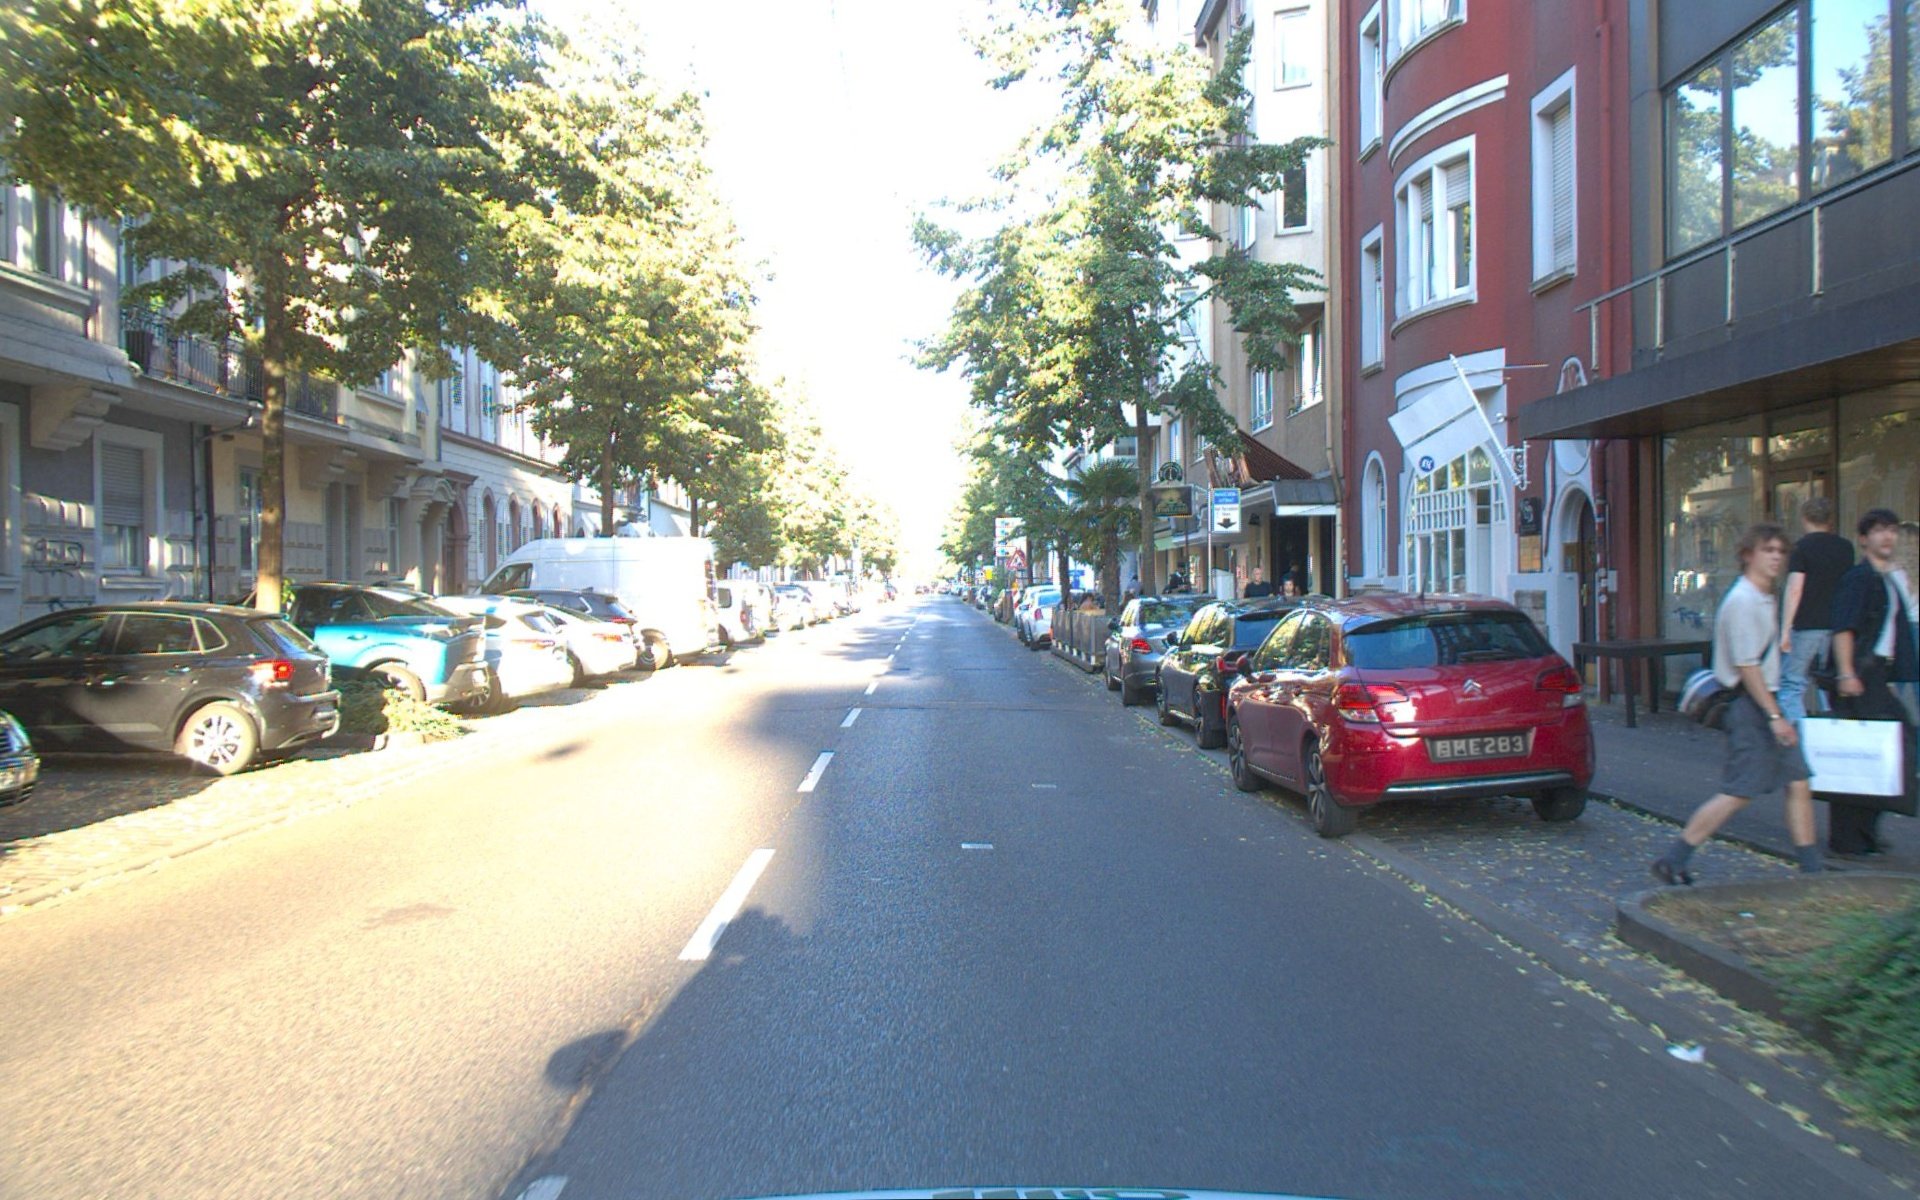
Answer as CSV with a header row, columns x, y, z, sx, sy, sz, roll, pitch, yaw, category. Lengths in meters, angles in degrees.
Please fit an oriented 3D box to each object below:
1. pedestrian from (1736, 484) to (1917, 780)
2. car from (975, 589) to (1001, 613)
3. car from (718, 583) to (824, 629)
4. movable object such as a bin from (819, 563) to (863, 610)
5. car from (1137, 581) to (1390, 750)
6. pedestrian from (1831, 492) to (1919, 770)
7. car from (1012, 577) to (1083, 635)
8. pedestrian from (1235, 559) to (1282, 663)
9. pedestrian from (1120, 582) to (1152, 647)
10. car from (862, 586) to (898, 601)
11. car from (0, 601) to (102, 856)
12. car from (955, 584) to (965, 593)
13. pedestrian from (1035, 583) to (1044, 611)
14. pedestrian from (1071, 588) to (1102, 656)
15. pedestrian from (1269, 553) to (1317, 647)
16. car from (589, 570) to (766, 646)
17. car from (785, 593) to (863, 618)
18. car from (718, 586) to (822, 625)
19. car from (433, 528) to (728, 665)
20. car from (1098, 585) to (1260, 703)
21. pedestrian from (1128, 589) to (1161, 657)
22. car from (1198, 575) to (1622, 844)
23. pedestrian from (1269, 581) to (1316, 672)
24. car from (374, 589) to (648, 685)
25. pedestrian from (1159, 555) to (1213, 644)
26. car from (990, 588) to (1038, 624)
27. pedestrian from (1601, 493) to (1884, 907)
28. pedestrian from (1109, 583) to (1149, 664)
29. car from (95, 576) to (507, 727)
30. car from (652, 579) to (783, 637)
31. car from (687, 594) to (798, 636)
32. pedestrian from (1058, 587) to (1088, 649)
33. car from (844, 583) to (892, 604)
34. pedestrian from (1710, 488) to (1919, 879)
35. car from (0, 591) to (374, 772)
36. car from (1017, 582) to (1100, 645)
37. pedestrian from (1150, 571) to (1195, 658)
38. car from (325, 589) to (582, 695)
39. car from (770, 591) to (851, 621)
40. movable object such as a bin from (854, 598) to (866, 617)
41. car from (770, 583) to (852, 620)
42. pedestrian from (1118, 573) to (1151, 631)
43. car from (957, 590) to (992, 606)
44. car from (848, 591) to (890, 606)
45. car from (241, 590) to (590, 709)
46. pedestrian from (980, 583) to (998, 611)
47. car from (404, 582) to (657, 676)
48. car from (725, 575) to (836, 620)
x,y,z,sx,sy,sz,roll,pitch,yaw,category
5.900,0.210,11.316,0.613,1.900,0.976,-3,0,-1,pedestrian
1.955,0.081,117.237,1.653,1.602,4.012,-3,0,-1,car
-8.204,0.255,72.047,4.338,1.902,1.894,-1,0,0,car
-7.822,-0.871,108.814,2.571,3.021,5.302,-1,0,-1,movable object such as a bin
3.103,0.603,17.795,1.739,1.496,4.416,-3,0,-2,car
6.582,0.190,11.432,0.577,1.840,0.835,-3,0,-1,pedestrian
2.642,0.172,51.112,1.841,1.601,4.691,-3,0,0,car
5.025,0.187,27.884,0.611,1.706,0.640,-2,0,0,pedestrian
3.942,0.327,37.075,0.565,1.409,0.603,-3,0,-1,pedestrian
-9.827,-0.809,203.275,4.351,1.790,1.919,0,0,0,car
-7.453,0.733,9.866,3.707,1.474,1.790,1,0,1,car
0.028,-1.808,253.197,1.482,1.298,3.303,0,0,0,car
5.520,-0.221,114.315,0.452,1.908,0.499,-1,0,-16,pedestrian
2.714,0.465,35.535,0.565,1.409,0.603,-3,0,-1,pedestrian
6.968,-0.005,34.607,0.783,1.916,0.878,-1,2,23,pedestrian
-7.576,0.210,44.659,4.407,1.987,1.919,0,0,1,car
-8.267,0.313,100.658,4.499,1.495,1.893,0,0,2,car
-7.654,0.204,66.948,3.955,1.509,1.962,-1,0,-1,car
-7.700,-0.067,34.033,5.543,2.667,2.171,1,0,-1,car
3.100,0.562,24.332,1.738,1.465,5.001,-3,0,1,car
3.961,0.492,35.479,0.565,1.409,0.718,-3,0,-1,pedestrian
3.047,0.645,12.315,1.688,1.518,4.751,-3,0,-2,car
5.674,0.452,28.262,0.611,1.514,0.640,-2,0,0,pedestrian
-7.519,0.602,27.983,4.127,1.532,1.792,1,0,-1,car
5.018,-0.015,36.763,0.787,1.916,0.872,0,2,43,pedestrian
2.443,0.252,75.838,1.792,1.514,4.847,-3,0,-3,car
3.733,0.450,7.946,0.718,1.816,0.866,-5,0,-16,pedestrian
3.273,0.447,32.116,0.618,1.511,0.795,-3,0,-1,pedestrian
-7.707,0.586,19.698,4.148,1.679,1.891,1,0,-5,car
-8.017,0.247,54.925,4.053,1.838,1.807,-1,0,1,car
-8.126,0.537,61.910,3.978,1.487,1.684,-1,0,-4,car
2.547,0.402,37.228,0.565,1.342,0.704,-3,0,-1,pedestrian
-8.616,-0.612,155.128,4.479,1.996,1.990,0,0,-1,car
4.601,0.374,8.354,1.030,1.816,0.940,-4,0,-17,pedestrian
-7.493,0.688,14.868,3.837,1.474,1.696,1,0,-4,car
2.628,0.334,45.105,1.804,1.506,5.189,-3,0,-1,car
4.125,0.277,32.156,0.693,1.626,0.795,-3,0,-1,pedestrian
-7.731,0.610,25.456,3.336,1.536,1.847,1,0,2,car
-7.940,0.311,88.083,4.242,1.527,1.840,0,0,-6,car
-6.204,0.456,102.716,0.675,1.124,0.883,-2,0,1,movable object such as a bin
-8.267,0.086,92.225,4.392,2.010,2.068,0,0,0,car
5.589,0.069,53.013,0.839,1.825,0.996,-2,0,-4,pedestrian
1.555,-0.227,173.835,1.645,1.616,3.801,0,0,42,car
-9.850,-0.143,179.374,4.351,1.595,1.919,0,0,0,car
-7.319,0.640,22.559,4.101,1.508,1.970,1,0,-2,car
1.993,-0.213,111.885,0.995,1.857,0.778,-3,0,-11,pedestrian
-7.858,0.507,30.564,4.126,1.628,1.975,1,0,0,car
-8.084,-0.110,74.692,4.771,1.941,1.973,-1,0,-1,car
